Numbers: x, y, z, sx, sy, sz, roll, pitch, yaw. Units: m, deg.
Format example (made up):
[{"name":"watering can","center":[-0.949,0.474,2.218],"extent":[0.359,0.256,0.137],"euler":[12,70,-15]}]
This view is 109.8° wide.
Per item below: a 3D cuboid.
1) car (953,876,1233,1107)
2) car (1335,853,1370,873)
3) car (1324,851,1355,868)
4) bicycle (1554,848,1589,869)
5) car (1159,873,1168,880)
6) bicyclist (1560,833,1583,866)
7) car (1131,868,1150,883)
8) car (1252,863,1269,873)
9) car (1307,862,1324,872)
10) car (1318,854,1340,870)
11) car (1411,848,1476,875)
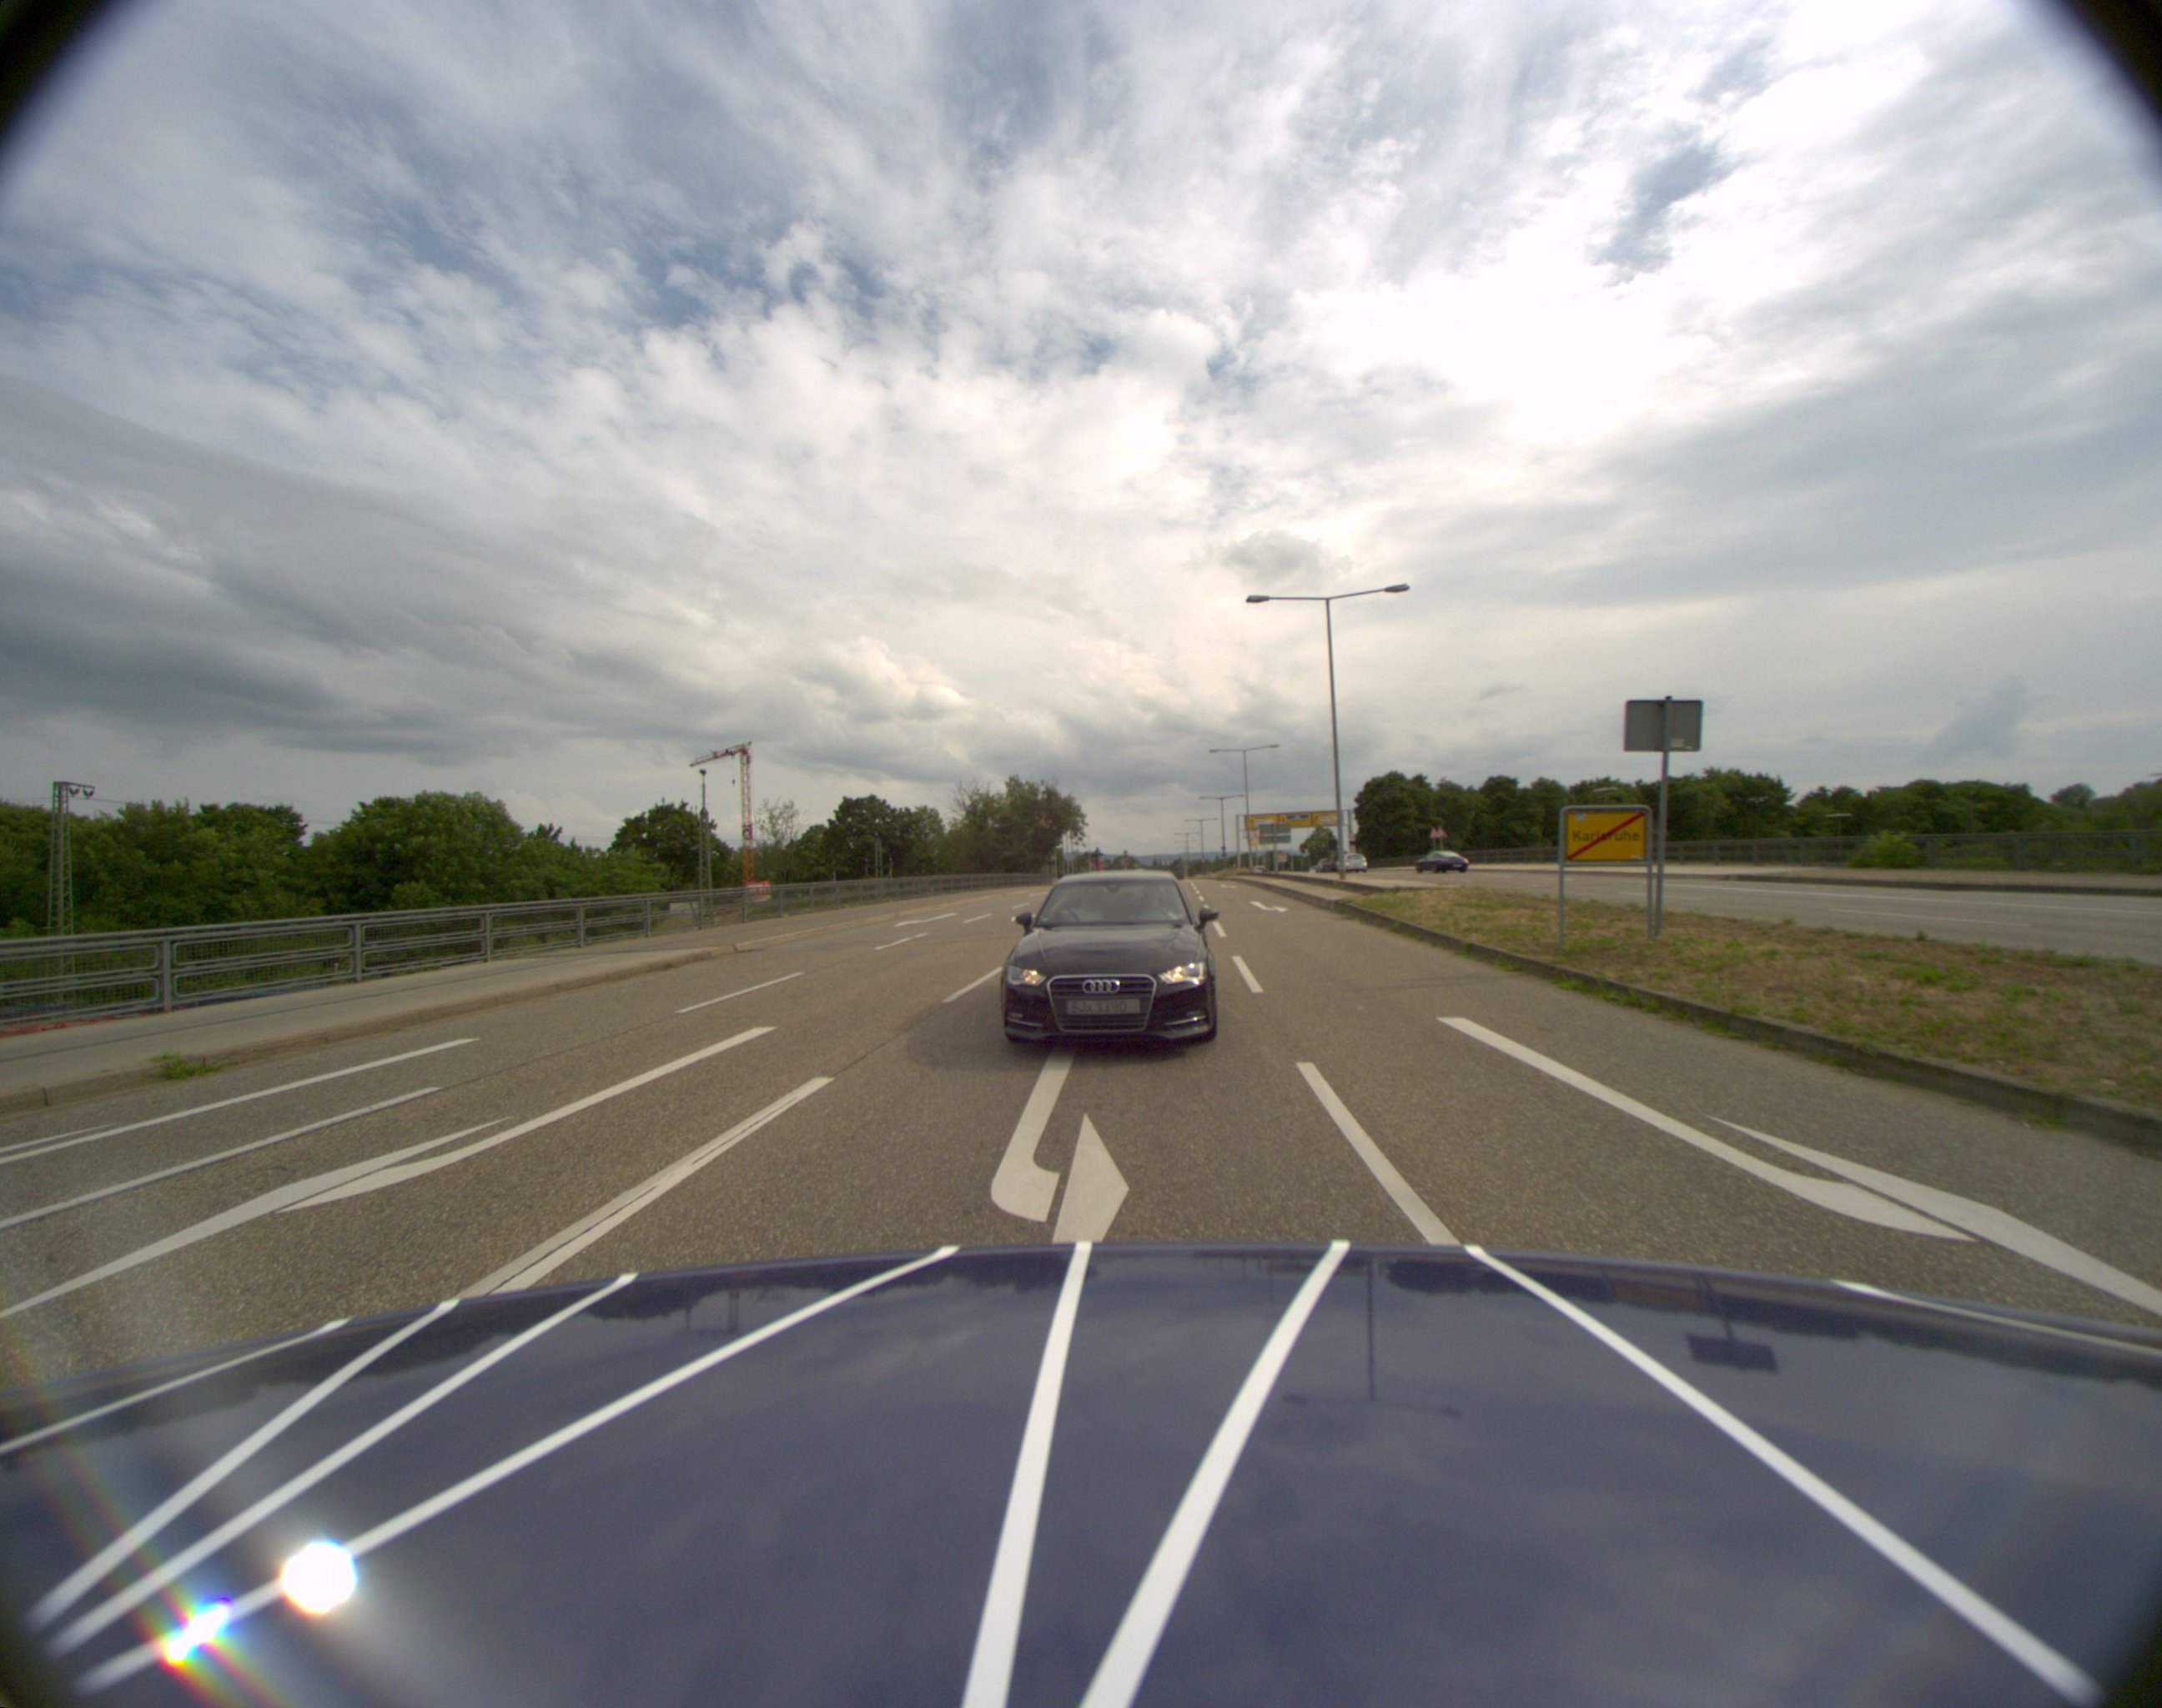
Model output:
[{"name":"car","center":[0.345,1.015,7.480],"extent":[1.851,1.355,4.732],"euler":[-2,0,7]},{"name":"car","center":[20.315,0.665,56.943],"extent":[1.619,1.402,3.862],"euler":[-1,0,6]},{"name":"car","center":[22.883,0.472,67.332],"extent":[1.745,1.402,3.878],"euler":[-1,0,5]},{"name":"bicycle","center":[25.644,0.243,39.750],"extent":[0.685,1.047,1.996],"euler":[-3,0,8]},{"name":"car","center":[19.494,5.308,179.448],"extent":[1.860,1.335,4.002],"euler":[-2,0,7]},{"name":"bicyclist","center":[25.628,-0.240,39.699],"extent":[0.685,1.662,0.848],"euler":[-3,0,8]},{"name":"car","center":[6.852,2.462,87.538],"extent":[1.724,1.512,3.952],"euler":[-4,0,9]},{"name":"car","center":[26.338,2.044,111.691],"extent":[1.812,1.407,4.031],"euler":[-2,0,5]},{"name":"car","center":[34.031,1.882,110.174],"extent":[1.921,1.407,4.889],"euler":[-1,-1,21]},{"name":"car","center":[26.712,0.828,81.996],"extent":[1.745,1.649,4.082],"euler":[-1,0,11]},{"name":"car","center":[21.379,0.440,45.016],"extent":[1.826,1.438,4.353],"euler":[-2,0,2]}]
